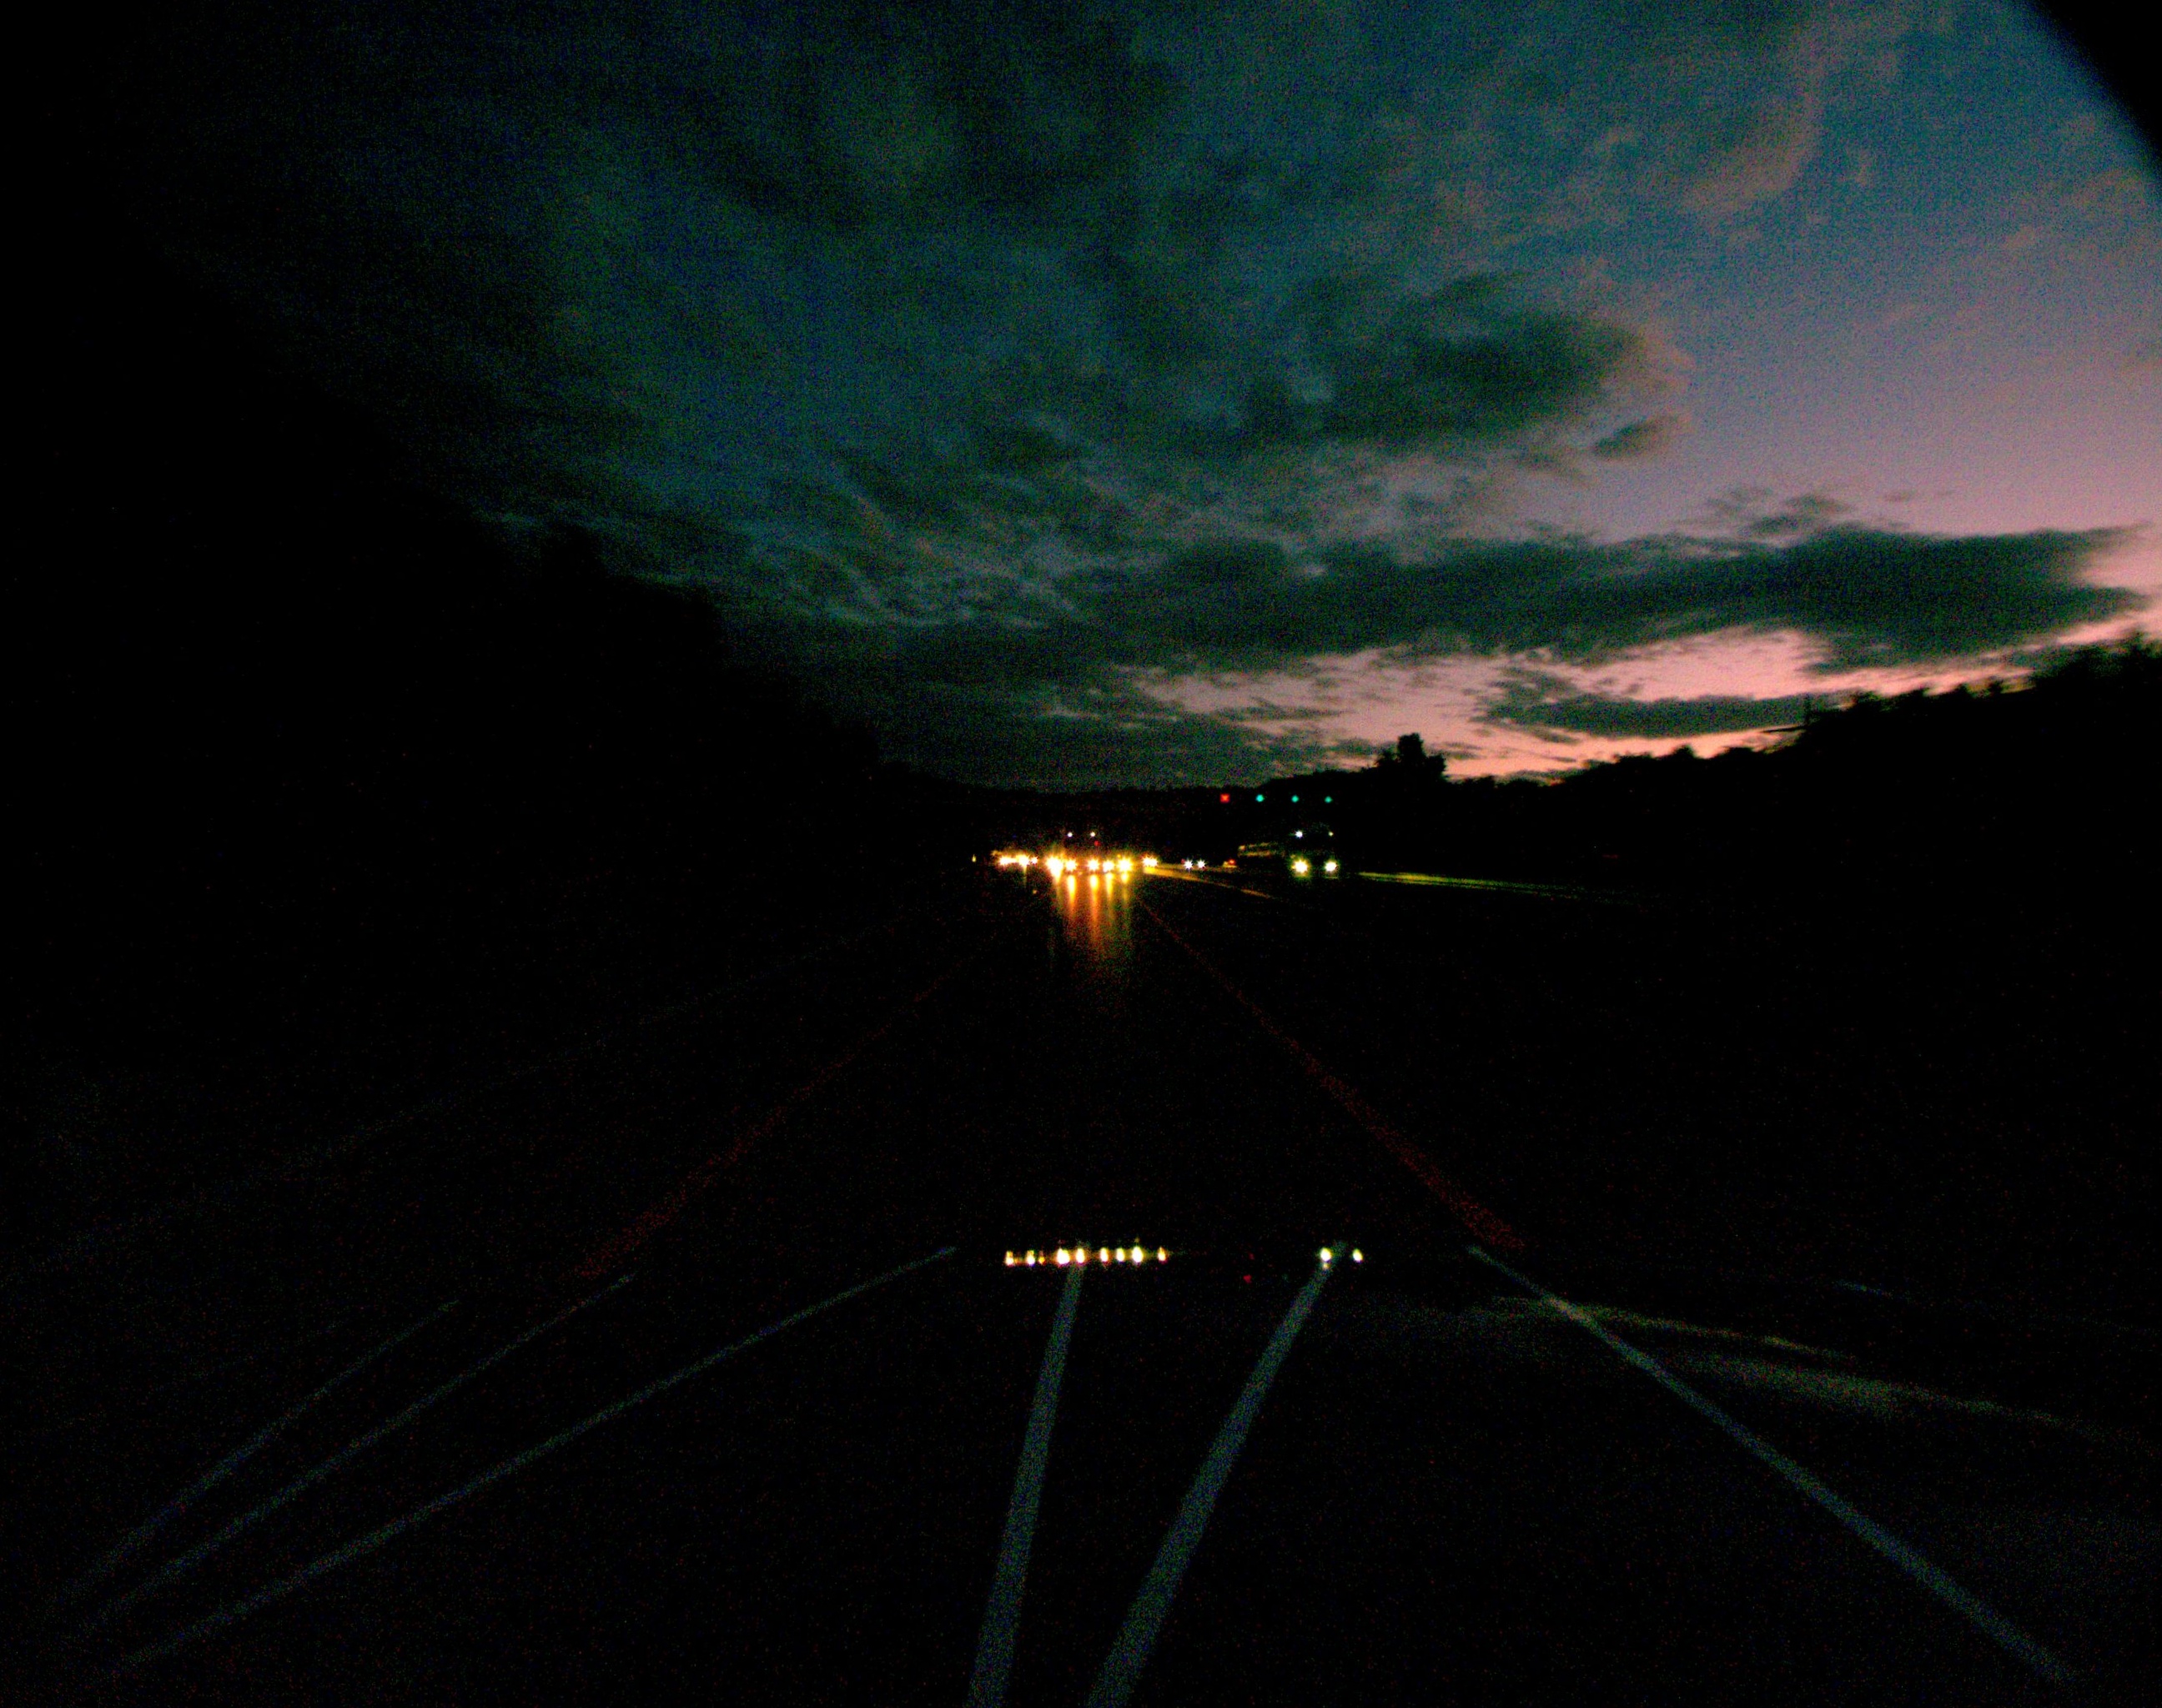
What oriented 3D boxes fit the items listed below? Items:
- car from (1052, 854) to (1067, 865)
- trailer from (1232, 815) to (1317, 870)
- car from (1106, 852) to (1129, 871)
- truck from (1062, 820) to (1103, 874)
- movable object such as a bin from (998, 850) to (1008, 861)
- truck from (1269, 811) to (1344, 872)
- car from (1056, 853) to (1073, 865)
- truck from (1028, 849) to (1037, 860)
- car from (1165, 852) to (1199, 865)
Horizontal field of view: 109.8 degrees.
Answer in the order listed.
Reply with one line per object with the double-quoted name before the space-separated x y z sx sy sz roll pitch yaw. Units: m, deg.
"car" -3.163 0.748 112.408 1.927 1.606 3.997 -1 0 -6
"trailer" 14.790 -0.858 59.338 2.807 3.761 11.830 -2 0 -4
"car" 3.172 0.646 67.469 1.663 1.586 3.995 -2 1 -2
"truck" 0.001 -0.599 67.477 2.954 4.241 11.049 -2 1 -3
"movable object such as a bin" -24.113 0.436 234.375 2.629 3.090 5.801 -1 0 -8
"truck" 15.238 -0.811 51.773 2.810 3.753 6.300 -2 1 -3
"car" -2.201 0.646 99.594 1.927 1.606 3.997 -1 0 -6
"truck" -13.516 0.071 212.889 1.999 2.817 6.294 -2 1 -1
"car" 13.455 0.571 100.910 4.005 1.689 1.996 -1 0 -25
